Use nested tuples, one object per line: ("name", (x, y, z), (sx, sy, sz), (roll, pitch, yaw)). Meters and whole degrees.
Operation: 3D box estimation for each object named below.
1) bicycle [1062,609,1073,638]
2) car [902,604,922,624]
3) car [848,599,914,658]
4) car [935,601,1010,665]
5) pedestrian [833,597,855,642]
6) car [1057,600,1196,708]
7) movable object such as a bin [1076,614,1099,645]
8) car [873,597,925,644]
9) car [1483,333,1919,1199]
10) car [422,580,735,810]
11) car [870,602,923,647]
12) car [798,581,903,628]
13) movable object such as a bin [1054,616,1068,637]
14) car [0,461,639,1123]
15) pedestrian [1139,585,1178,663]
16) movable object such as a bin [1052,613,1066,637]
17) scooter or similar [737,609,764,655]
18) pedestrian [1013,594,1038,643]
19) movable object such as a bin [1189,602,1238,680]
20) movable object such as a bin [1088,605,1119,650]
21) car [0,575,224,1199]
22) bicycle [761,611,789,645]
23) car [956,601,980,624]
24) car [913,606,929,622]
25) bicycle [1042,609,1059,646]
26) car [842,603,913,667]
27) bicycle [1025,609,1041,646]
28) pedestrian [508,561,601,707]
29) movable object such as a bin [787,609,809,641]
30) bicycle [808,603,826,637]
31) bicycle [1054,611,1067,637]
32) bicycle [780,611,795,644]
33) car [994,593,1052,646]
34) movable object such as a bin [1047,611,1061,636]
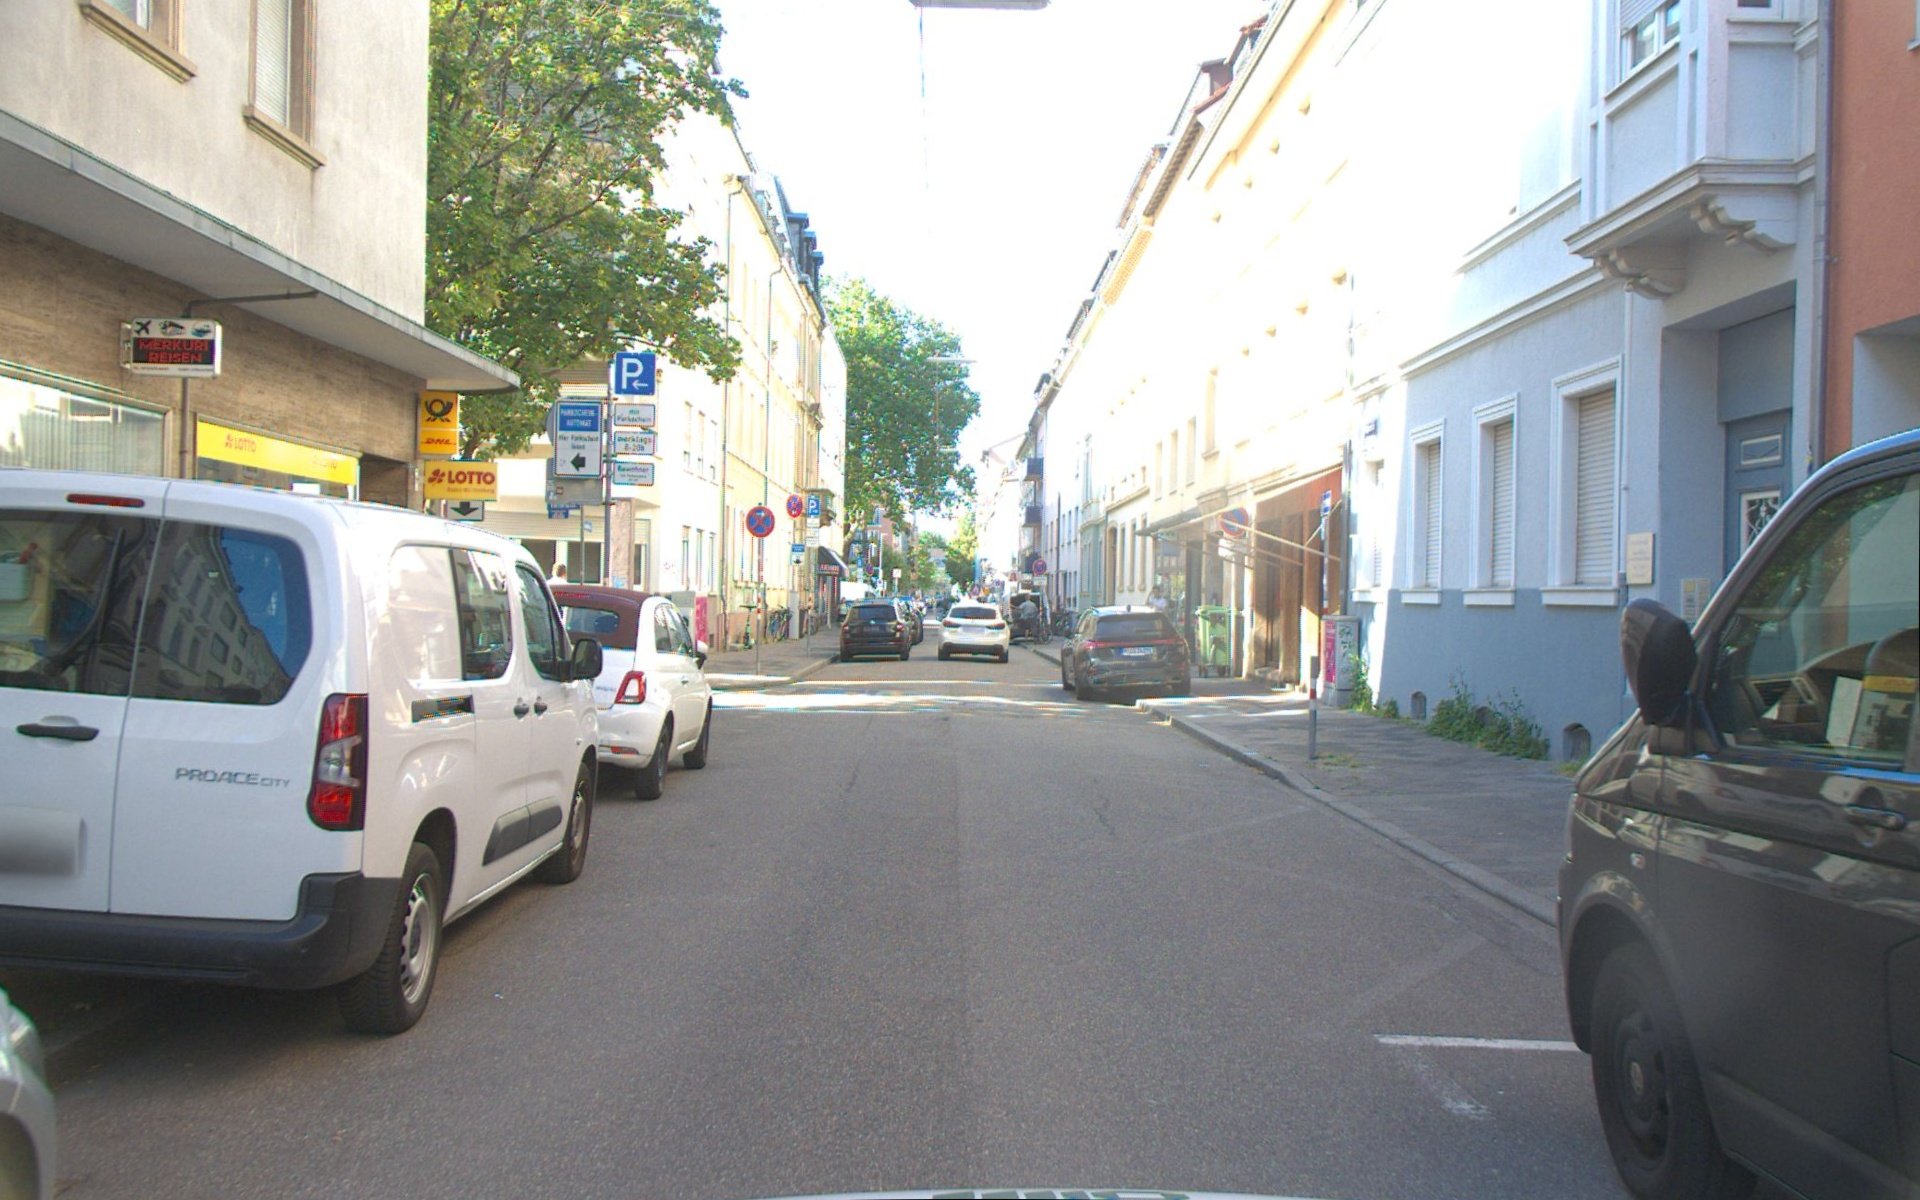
("bicycle", (4.680, 1.034, 71.980), (0.396, 1.227, 2.160), (1, -1, 3))
("car", (-4.230, 1.208, 145.640), (1.734, 1.616, 3.725), (1, 0, -1))
("car", (-2.278, 0.804, 48.760), (1.708, 1.643, 4.603), (0, 0, 0))
("car", (0.279, 0.825, 42.544), (1.787, 1.540, 3.822), (1, 0, -1))
("pedestrian", (-4.573, 0.756, 65.317), (0.749, 1.744, 0.883), (2, 0, -1))
("car", (2.704, 0.848, 27.839), (1.764, 1.606, 4.896), (2, 0, -1))
("movable object such as a bin", (4.662, 1.063, 60.480), (0.780, 1.115, 0.642), (1, -1, 1))
("car", (-2.333, 0.799, 64.840), (1.896, 1.766, 5.141), (0, 0, -1))
("car", (2.740, 0.567, 2.887), (1.930, 2.064, 4.897), (2, 0, -2))
("car", (-2.915, 0.671, 13.410), (1.633, 1.588, 3.722), (1, 0, 0))
("car", (-2.238, 0.870, 59.323), (1.678, 1.558, 4.367), (0, 0, 1))
("car", (-7.167, 0.305, 108.849), (6.601, 2.599, 2.146), (4, -1, 1))
("movable object such as a bin", (4.609, 1.204, 75.670), (0.565, 0.941, 0.607), (-2, -1, -1))
("car", (-2.687, 0.563, 7.268), (1.731, 1.932, 4.807), (-1, 0, -2))
("pedestrian", (4.886, 0.593, 40.739), (0.639, 1.892, 0.744), (-1, 0, -22))
("movable object such as a bin", (4.580, 1.137, 76.280), (0.603, 1.081, 0.603), (-1, 0, -1))
("scooter or similar", (-5.631, 0.857, 44.520), (0.444, 1.202, 1.691), (1, -1, 2))
("pedestrian", (2.508, 0.713, 63.051), (0.863, 1.869, 0.868), (1, -1, -3))
("movable object such as a bin", (4.910, 0.782, 32.080), (0.731, 1.461, 1.372), (-2, -1, 1))
("movable object such as a bin", (4.668, 0.903, 53.887), (0.820, 1.414, 1.296), (-2, -2, -2))
("car", (-2.342, 0.752, 1.273), (1.631, 1.549, 4.487), (-1, 0, -2))
("bicycle", (-5.754, 0.870, 51.512), (0.353, 1.046, 1.919), (1, -1, 9))
("car", (0.706, 1.152, 148.927), (1.904, 1.982, 4.075), (2, 0, -3))
("car", (-4.190, 1.526, 177.856), (1.540, 1.613, 3.610), (1, -1, 0))
("bicycle", (3.319, 0.994, 60.608), (0.563, 1.293, 2.200), (-1, 0, 3))
("car", (-2.082, 0.862, 42.903), (1.679, 1.514, 4.850), (-2, 0, -1))
("bicycle", (2.682, 0.989, 60.277), (0.563, 1.344, 2.200), (0, 0, 3))
("pedestrian", (-5.342, 0.449, 21.859), (0.892, 1.865, 1.245), (1, -1, -1))
("movable object such as a bin", (-5.697, 0.882, 58.191), (0.721, 1.108, 0.682), (1, 1, -4))
("bicycle", (-5.603, 0.775, 64.811), (0.500, 1.299, 1.867), (1, -1, 1))
("bicycle", (4.524, 1.080, 74.403), (0.556, 1.174, 1.869), (1, -1, 4))
("bicycle", (-5.731, 0.907, 54.861), (0.394, 1.074, 1.835), (1, -1, -4))
("car", (2.491, 0.747, 66.239), (1.943, 1.916, 5.598), (-3, 0, -1))
("movable object such as a bin", (4.487, 1.125, 79.066), (0.615, 1.142, 0.569), (1, -1, 0))
